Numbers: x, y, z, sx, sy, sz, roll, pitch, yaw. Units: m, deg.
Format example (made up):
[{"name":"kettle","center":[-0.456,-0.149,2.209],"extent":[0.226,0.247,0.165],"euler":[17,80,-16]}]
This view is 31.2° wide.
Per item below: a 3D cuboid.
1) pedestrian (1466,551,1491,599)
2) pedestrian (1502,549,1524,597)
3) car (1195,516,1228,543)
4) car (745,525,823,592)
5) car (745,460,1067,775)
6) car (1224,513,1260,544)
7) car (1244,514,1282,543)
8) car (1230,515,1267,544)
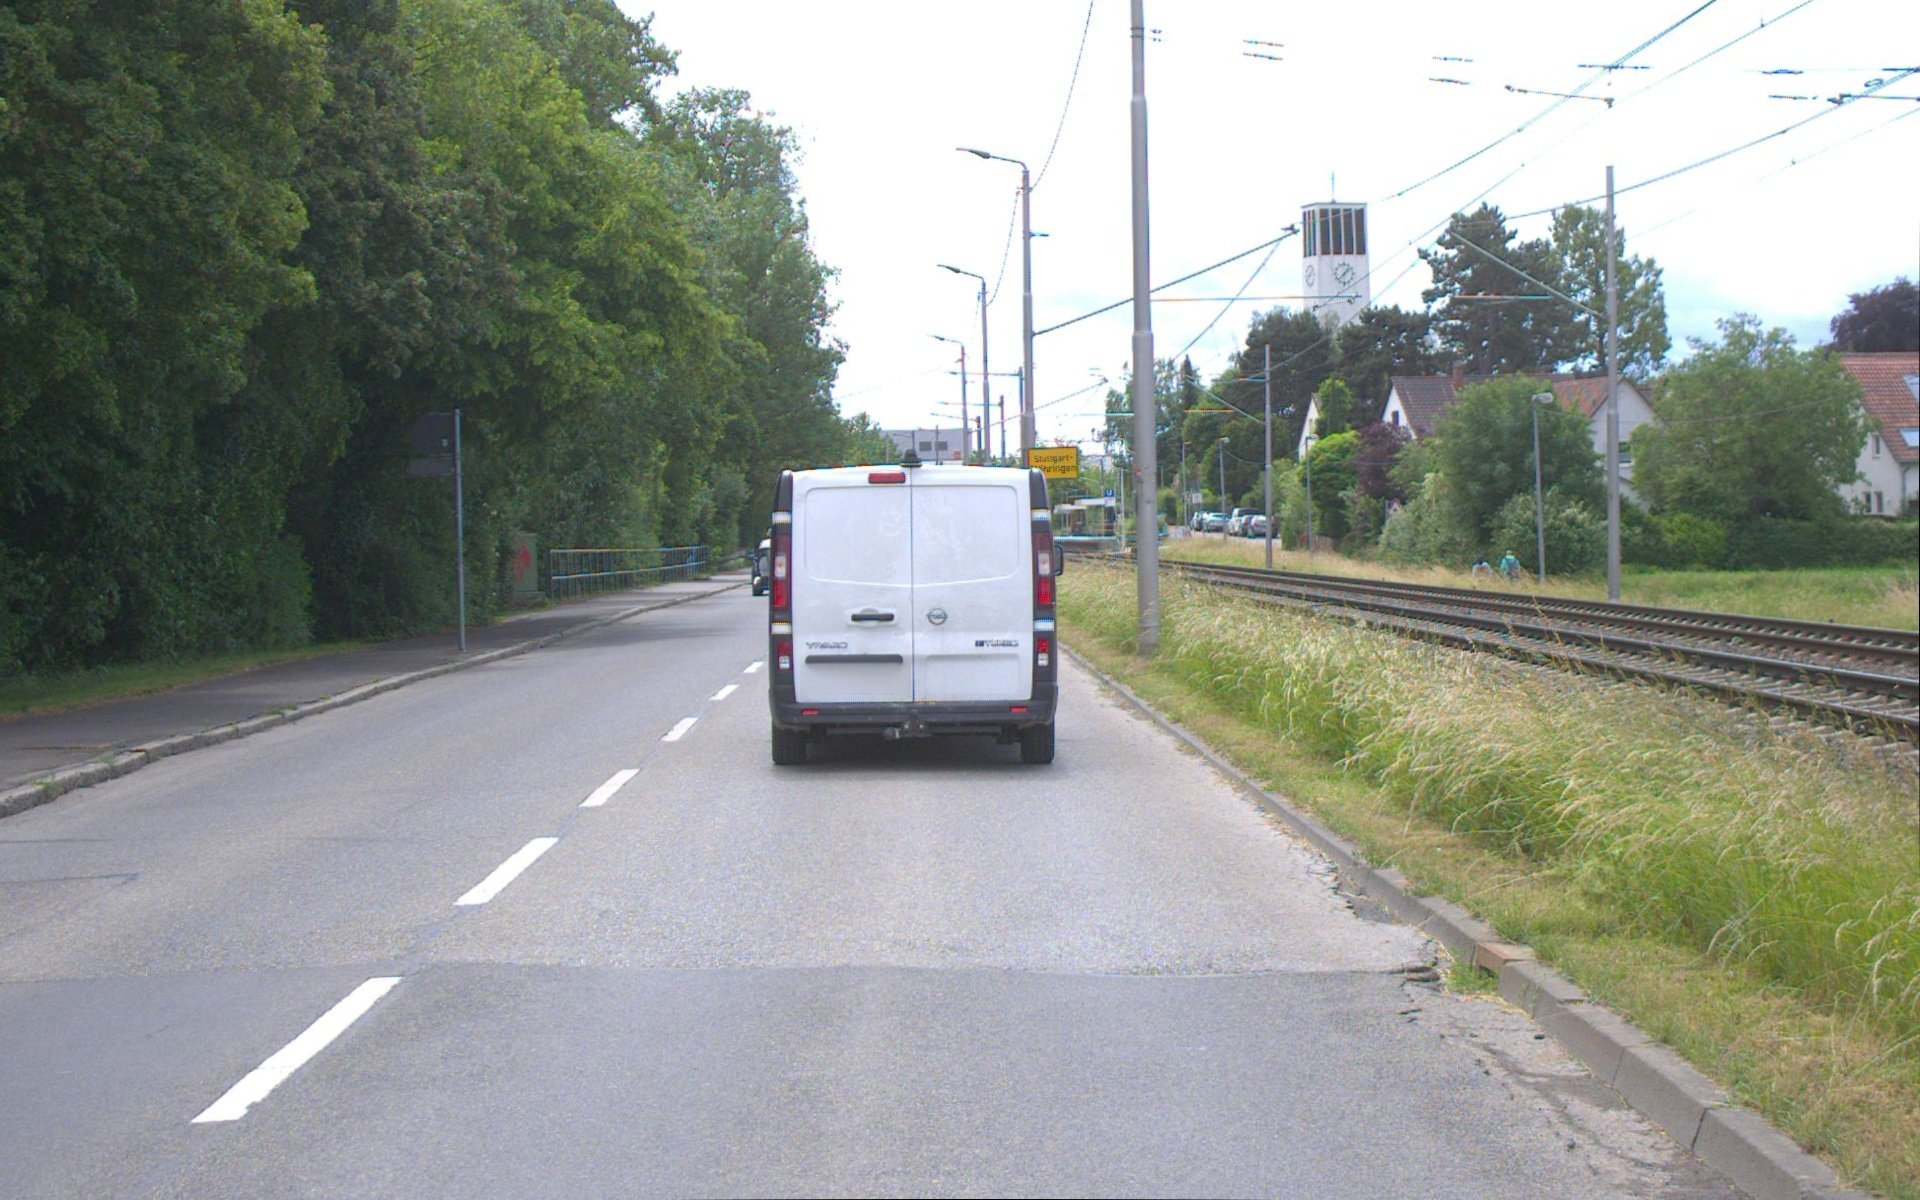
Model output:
[{"name":"pedestrian","center":[16.388,-0.793,108.721],"extent":[0.656,1.501,0.657],"euler":[-1,1,-1]},{"name":"pedestrian","center":[17.442,-0.842,108.450],"extent":[0.526,1.501,0.657],"euler":[-1,1,-1]},{"name":"car","center":[18.755,-5.252,256.420],"extent":[1.993,1.810,4.000],"euler":[1,0,-2]},{"name":"car","center":[-4.628,-1.103,90.890],"extent":[1.993,1.711,4.124],"euler":[-1,1,-2]},{"name":"car","center":[-0.400,0.046,23.355],"extent":[1.993,1.950,4.001],"euler":[0,2,-2]},{"name":"car","center":[19.201,-4.852,234.259],"extent":[1.993,2.007,4.000],"euler":[1,0,-2]},{"name":"car","center":[19.708,-4.663,223.879],"extent":[1.993,1.711,4.000],"euler":[1,0,-2]},{"name":"car","center":[19.277,-4.718,229.914],"extent":[1.993,1.810,4.000],"euler":[1,0,-2]}]
